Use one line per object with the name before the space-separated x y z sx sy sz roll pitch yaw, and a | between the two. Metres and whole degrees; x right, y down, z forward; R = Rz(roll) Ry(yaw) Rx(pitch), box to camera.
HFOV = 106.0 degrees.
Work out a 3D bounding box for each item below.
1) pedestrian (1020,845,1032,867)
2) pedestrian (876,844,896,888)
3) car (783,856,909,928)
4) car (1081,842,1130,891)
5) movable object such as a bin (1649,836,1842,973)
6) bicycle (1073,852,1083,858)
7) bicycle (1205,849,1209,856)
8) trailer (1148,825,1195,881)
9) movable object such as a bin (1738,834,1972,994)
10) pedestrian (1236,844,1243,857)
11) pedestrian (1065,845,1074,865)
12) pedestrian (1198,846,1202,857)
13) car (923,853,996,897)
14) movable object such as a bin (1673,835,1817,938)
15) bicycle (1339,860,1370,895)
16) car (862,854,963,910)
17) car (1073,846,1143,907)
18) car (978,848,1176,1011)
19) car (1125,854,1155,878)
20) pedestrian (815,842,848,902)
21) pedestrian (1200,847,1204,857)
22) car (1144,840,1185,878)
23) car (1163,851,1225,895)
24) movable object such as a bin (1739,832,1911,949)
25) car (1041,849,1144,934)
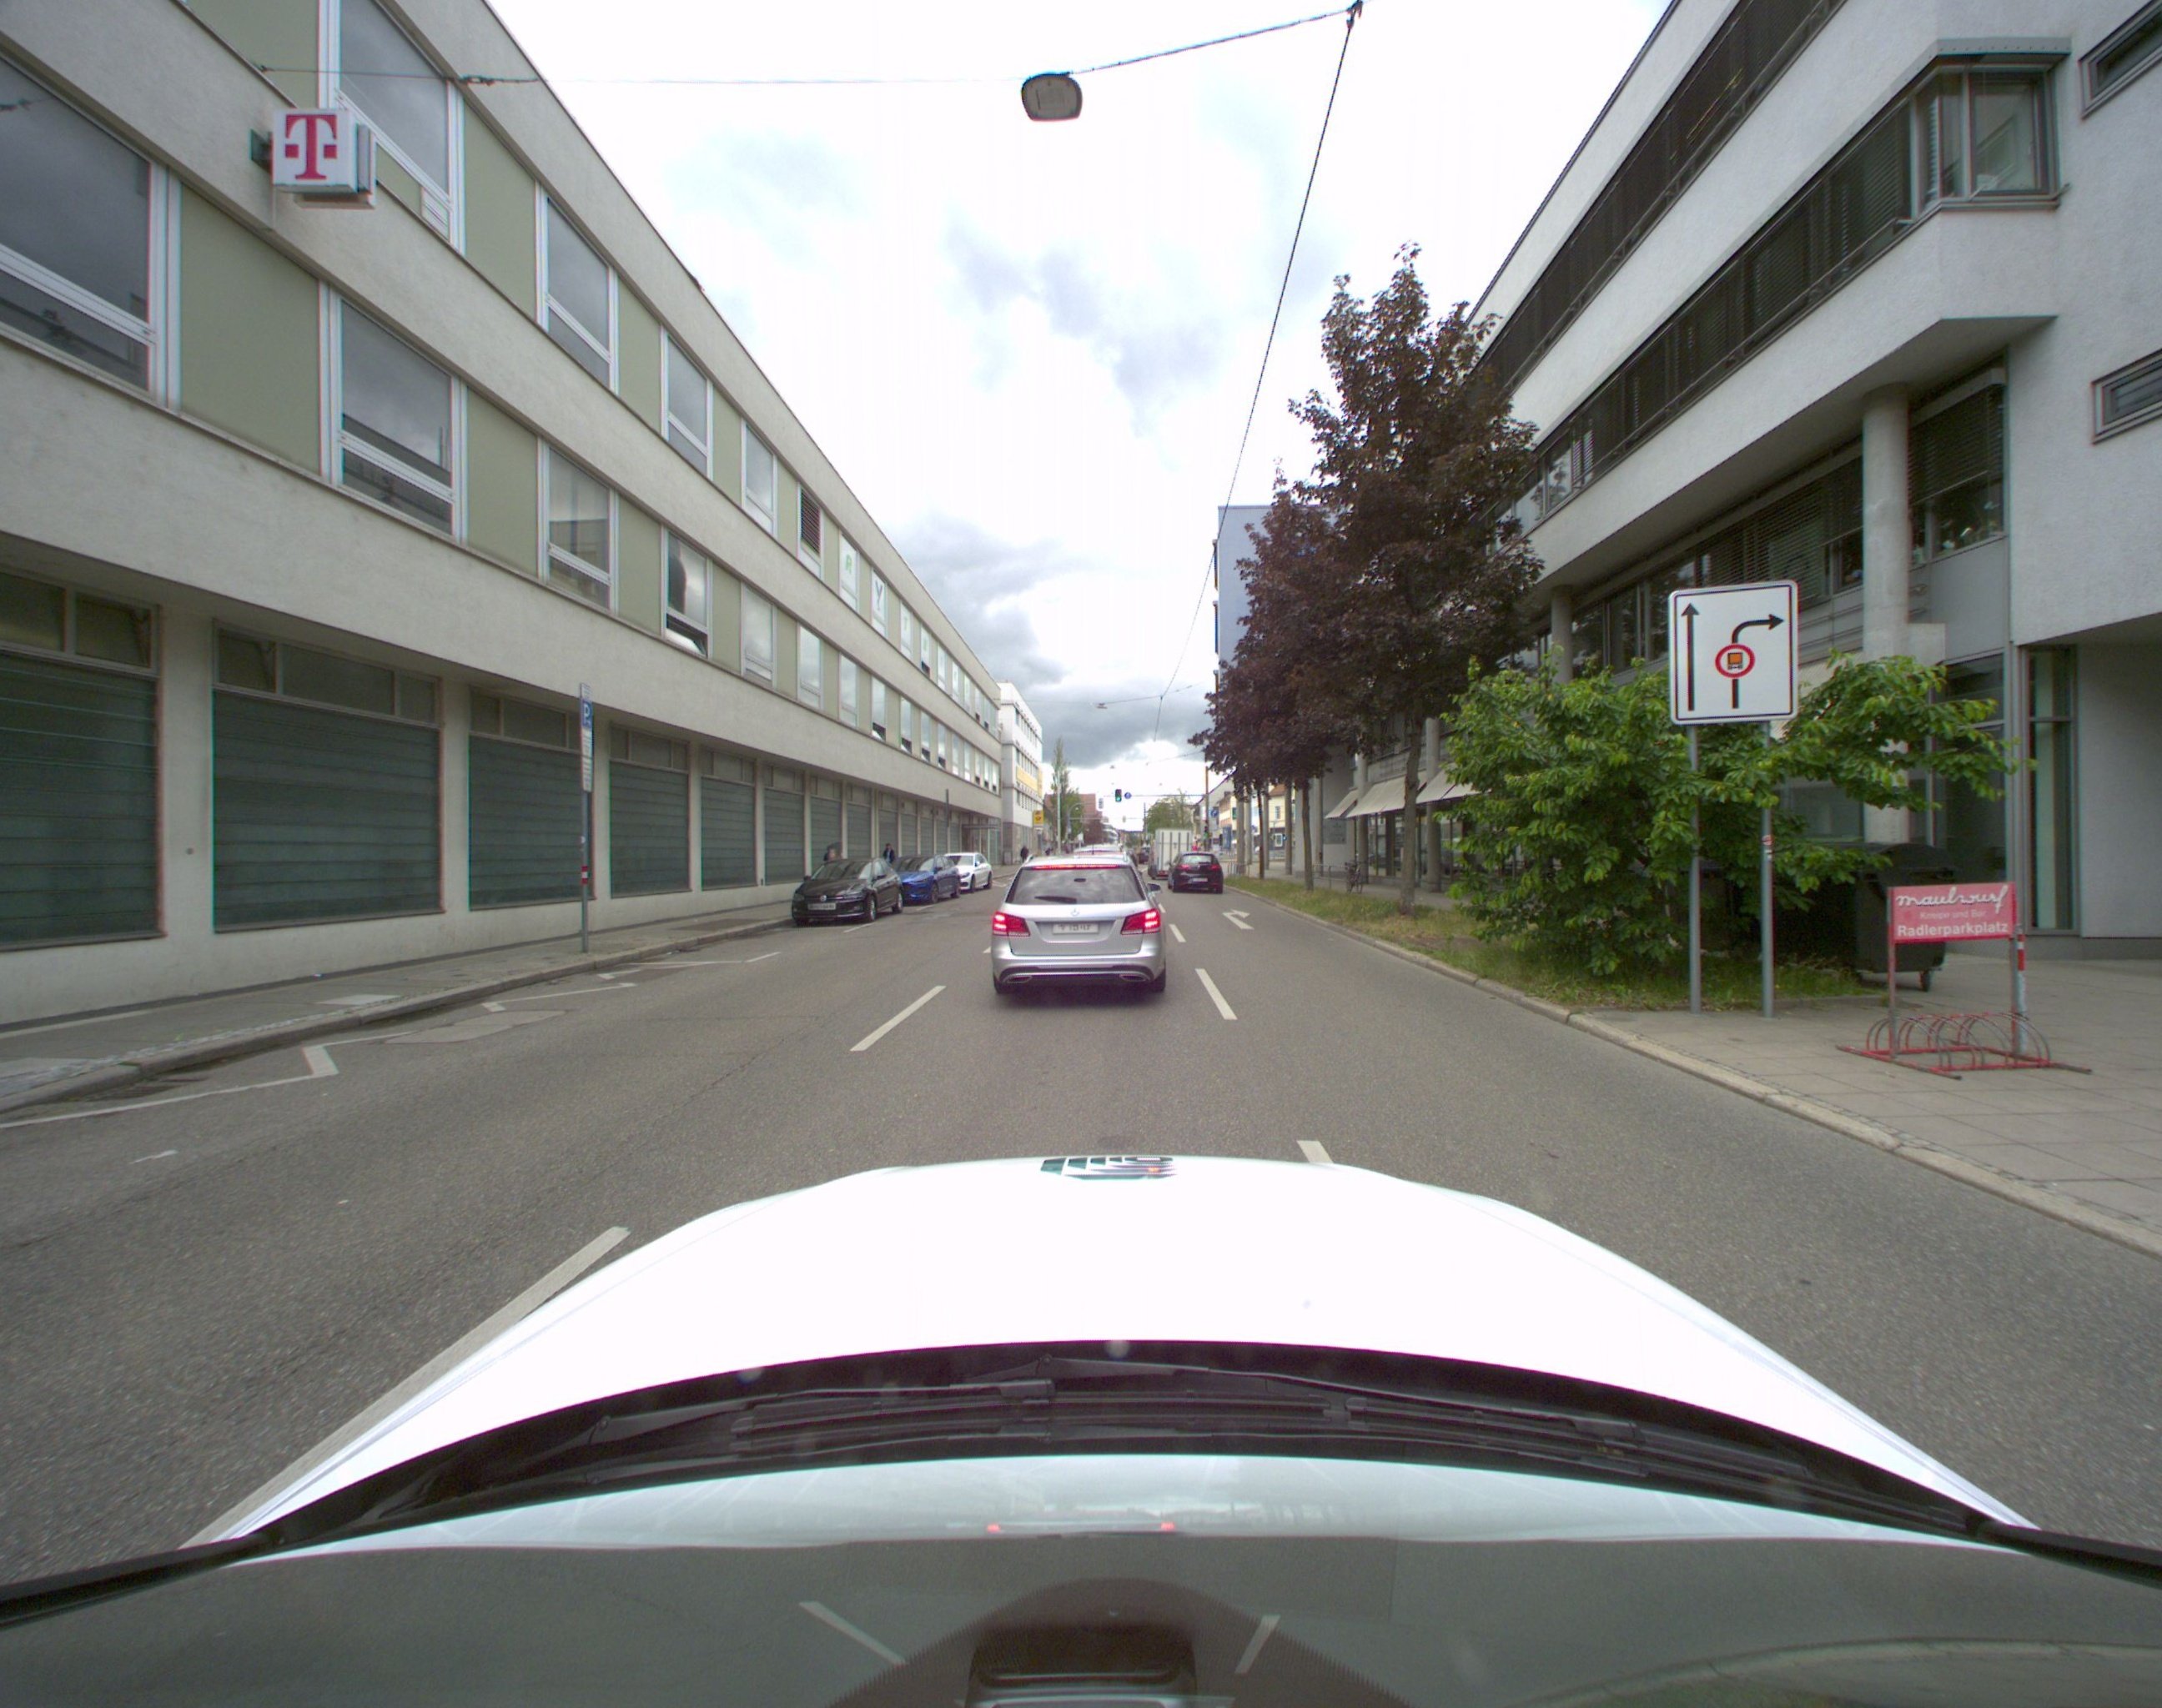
pedestrian | -4.361 0.130 64.265 0.858 1.718 1.032 1 0 1
pedestrian | -7.820 0.476 32.641 0.587 1.718 0.650 -1 0 1
car | -5.398 0.813 19.208 1.710 1.425 3.871 -2 0 1
car | 0.929 0.433 31.238 1.728 1.759 4.001 -1 0 1
movable object such as a bin | 7.808 0.558 9.673 1.123 1.465 1.413 -2 0 1
bicycle | -0.627 0.153 156.091 1.935 1.029 0.529 0 0 -7
bicycle | 20.065 -0.192 129.680 0.446 1.091 2.152 -1 0 4
trailer | 4.450 -0.067 40.572 1.871 2.613 4.324 2 0 1
movable object such as a bin | 7.793 0.562 8.300 1.094 1.465 1.333 -2 0 1
pedestrian | 20.830 -0.432 107.195 0.641 1.718 0.709 -1 0 29
pedestrian | -1.019 0.073 73.034 0.643 1.718 0.785 1 0 10
pedestrian | 19.241 -0.425 131.852 0.576 1.666 0.651 0 0 1
car | -4.482 0.728 30.793 1.662 1.434 4.559 -2 0 5
movable object such as a bin | 10.162 0.472 12.534 1.094 1.465 1.333 -2 0 1
bicycle | 8.867 0.747 26.482 0.359 1.086 2.028 0 0 1
car | -5.003 0.781 24.775 1.806 1.425 4.270 -2 0 5
car | 0.717 0.563 22.453 1.728 1.508 4.001 -1 0 1
car | 0.008 0.699 9.763 1.839 1.508 4.172 -1 0 1
car | 3.738 0.757 52.290 1.728 1.410 4.001 -1 1 1
pedestrian | -7.338 0.502 23.978 0.587 1.718 1.055 -1 0 1
pedestrian | 19.200 -0.329 128.951 0.576 1.469 0.651 0 0 0
car | 4.565 0.237 45.194 1.871 1.945 4.907 2 0 1
car | 3.969 0.622 29.145 1.728 1.410 4.001 -1 1 1
movable object such as a bin | 10.132 0.472 11.173 1.118 1.465 1.333 -2 0 1
car | 0.352 0.662 16.574 1.725 1.508 4.007 0 0 6
